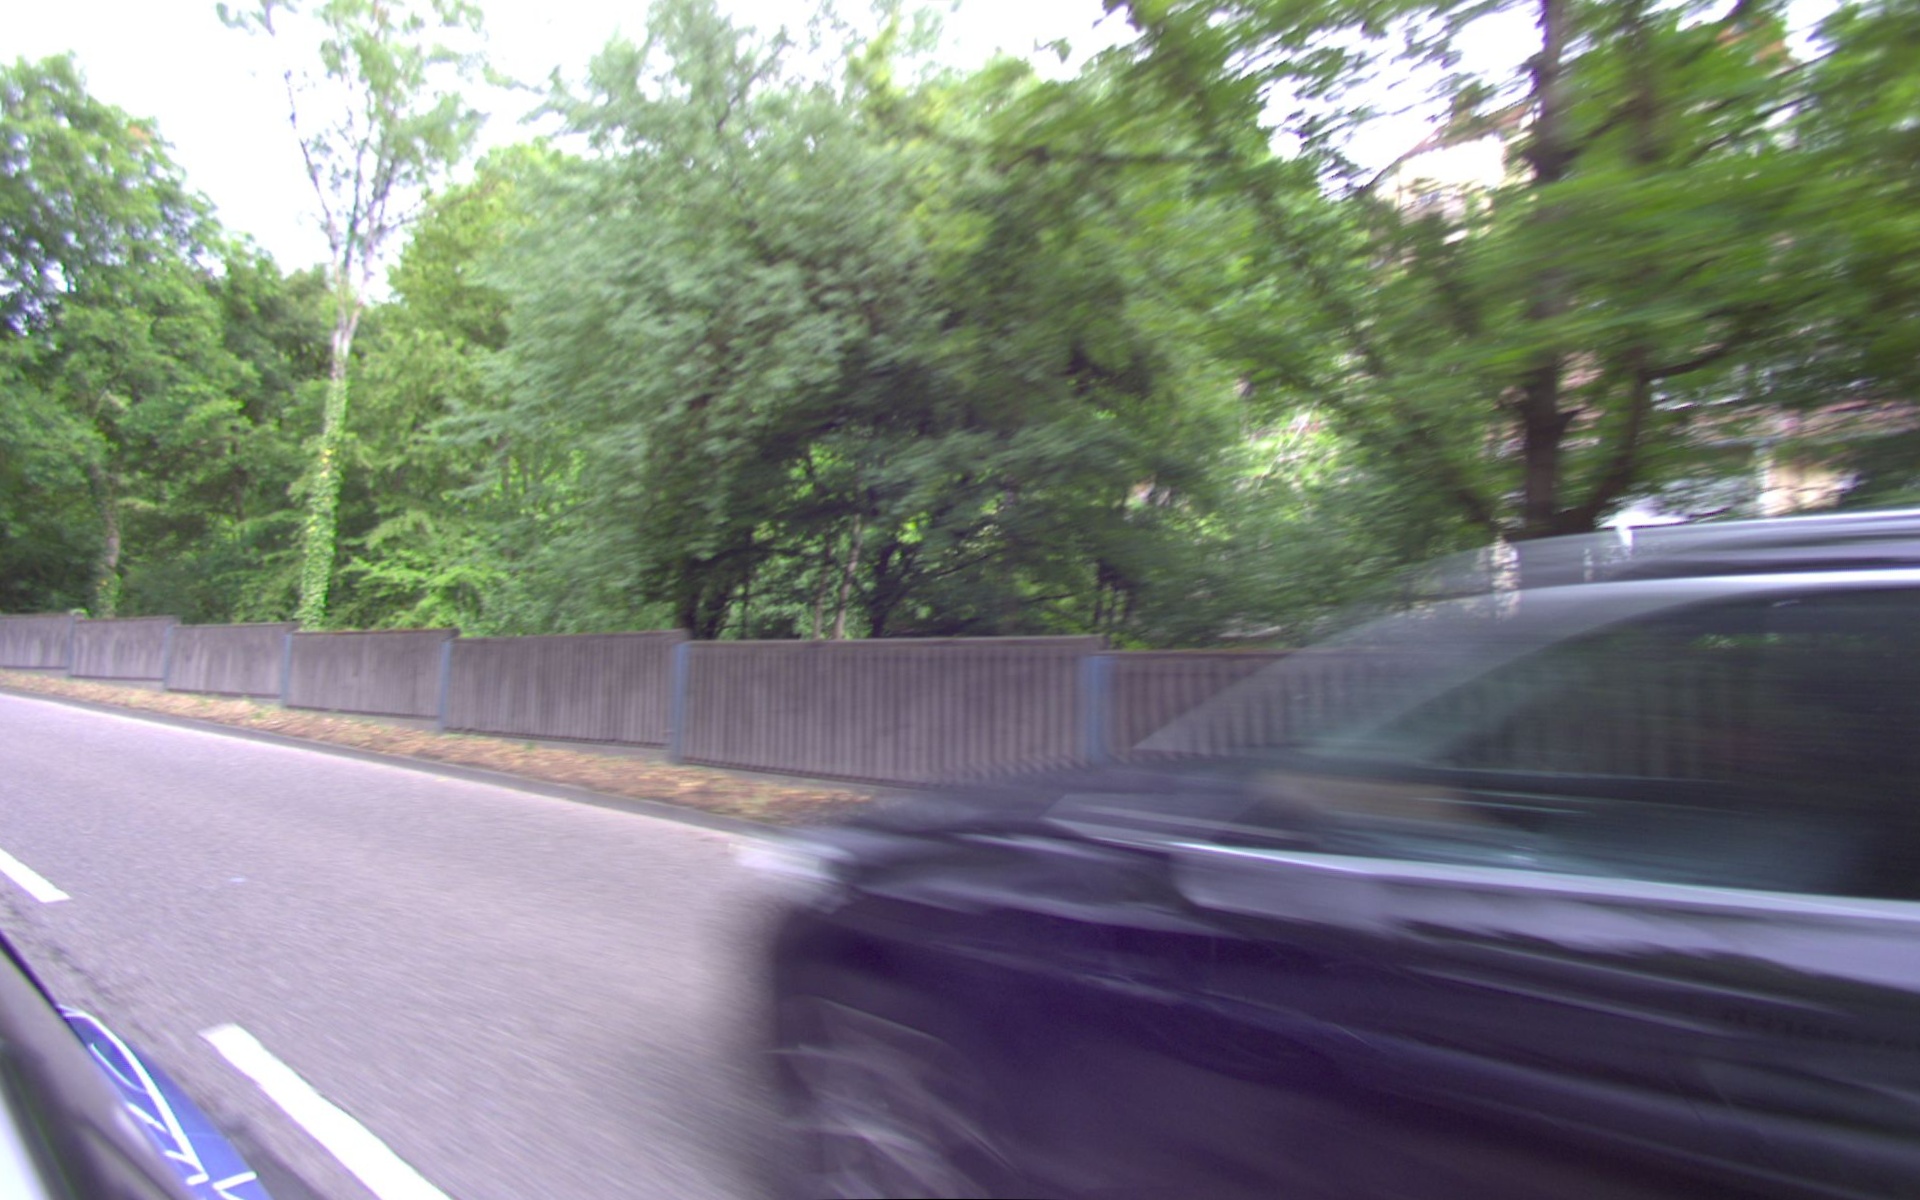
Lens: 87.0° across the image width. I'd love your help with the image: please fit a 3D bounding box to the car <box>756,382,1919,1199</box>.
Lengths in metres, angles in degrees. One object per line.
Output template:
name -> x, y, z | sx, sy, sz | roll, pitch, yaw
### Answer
car -> 1.621, 0.621, 1.602 | 4.053, 1.652, 1.707 | -1, -2, 41
